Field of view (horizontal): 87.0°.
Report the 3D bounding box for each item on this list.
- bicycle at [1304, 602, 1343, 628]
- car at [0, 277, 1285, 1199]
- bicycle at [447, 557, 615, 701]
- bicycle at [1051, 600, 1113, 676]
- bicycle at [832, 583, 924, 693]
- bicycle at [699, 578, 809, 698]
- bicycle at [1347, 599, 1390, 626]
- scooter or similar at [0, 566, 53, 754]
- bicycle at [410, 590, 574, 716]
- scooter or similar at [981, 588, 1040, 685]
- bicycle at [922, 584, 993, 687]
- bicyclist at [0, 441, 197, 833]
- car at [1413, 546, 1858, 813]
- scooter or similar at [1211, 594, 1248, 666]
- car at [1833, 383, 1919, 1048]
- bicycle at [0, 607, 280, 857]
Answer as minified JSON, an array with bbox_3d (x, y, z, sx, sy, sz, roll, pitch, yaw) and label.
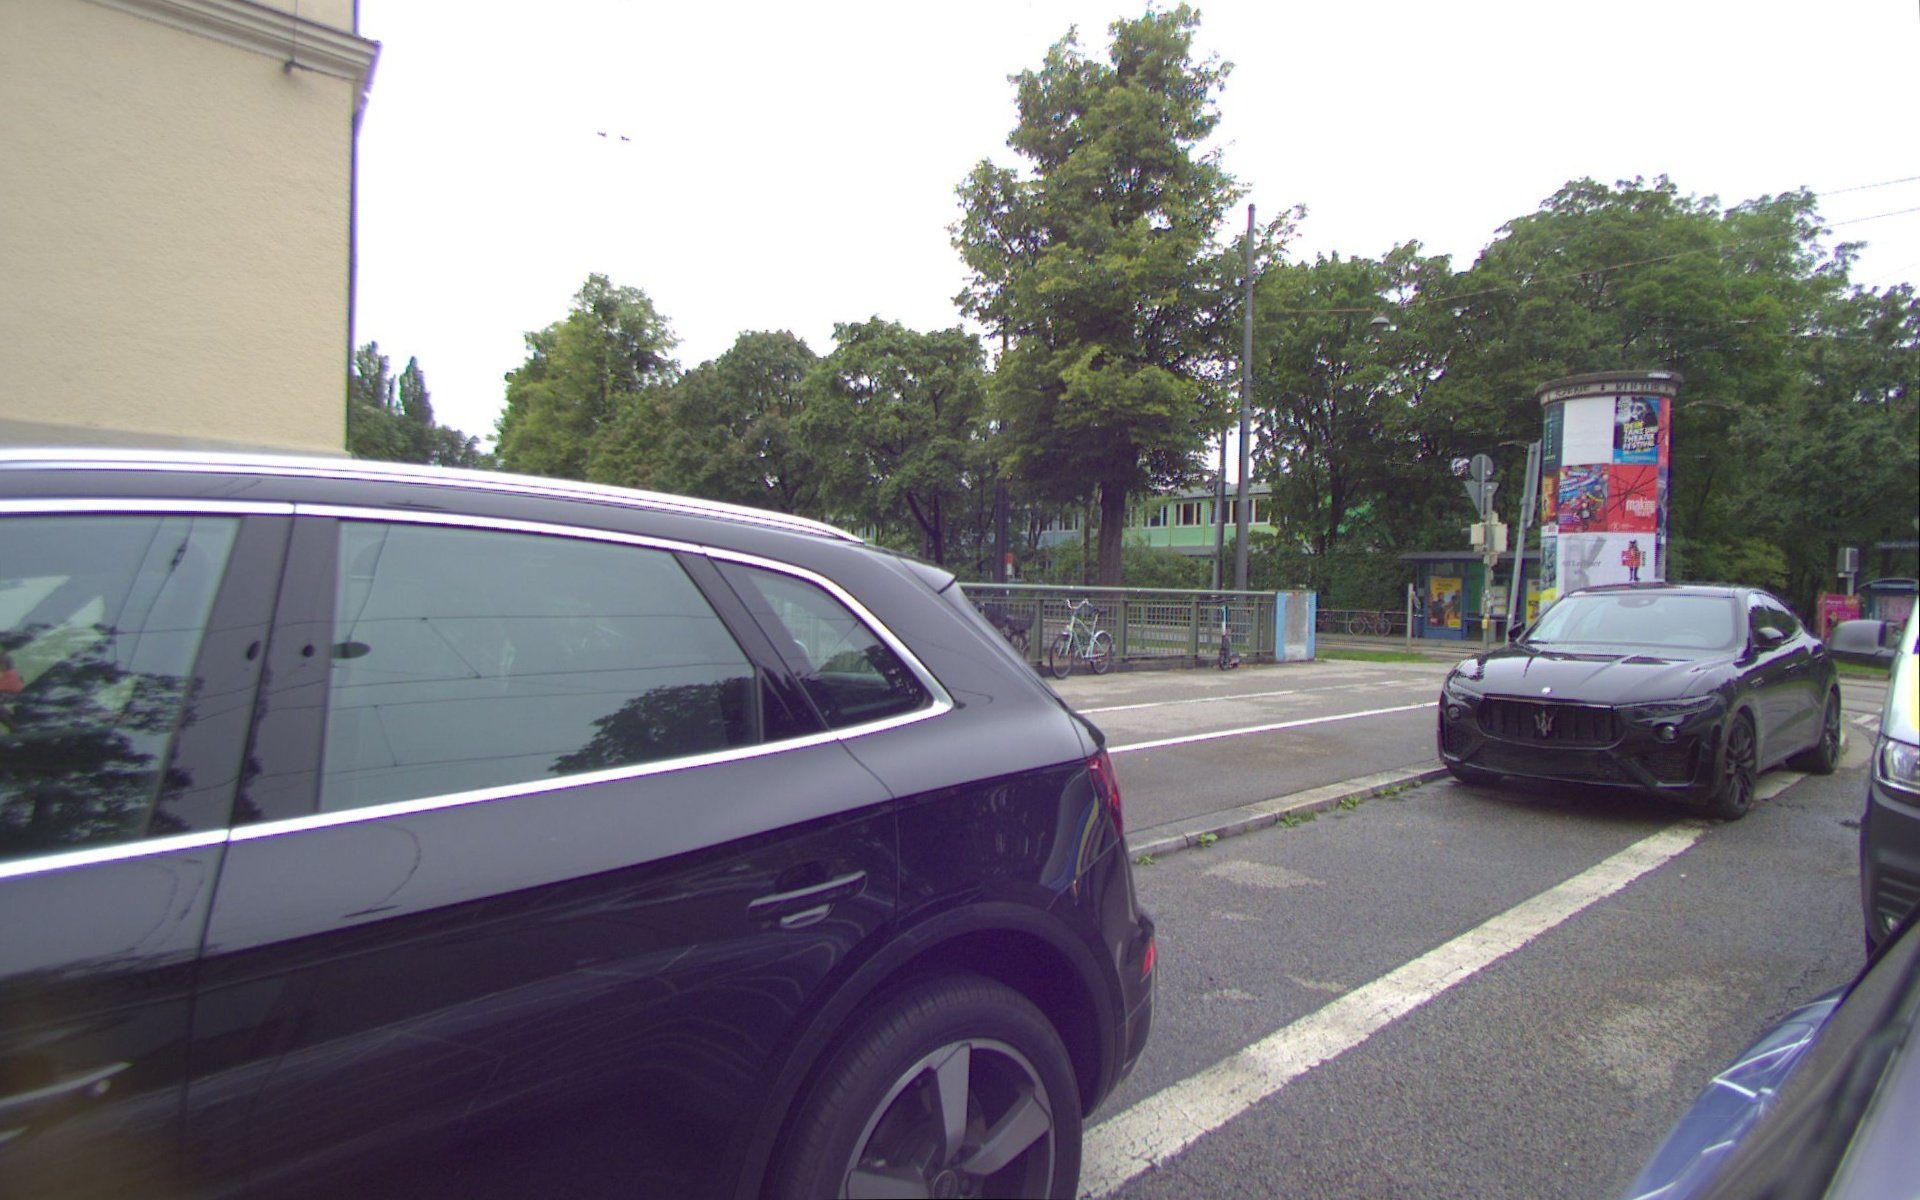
[{"bbox_3d":[14.300,0.587,39.862,0.366,0.964,1.483,0,1,-38],"label":"bicycle"},{"bbox_3d":[-1.446,0.517,1.735,4.408,1.679,1.778,0,0,-40],"label":"car"},{"bbox_3d":[-4.200,0.266,9.986,1.511,1.329,0.332,0,-1,-42],"label":"bicycle"},{"bbox_3d":[1.855,0.541,15.234,0.263,1.096,1.524,-1,-1,34],"label":"bicycle"},{"bbox_3d":[-1.006,0.452,12.675,0.281,1.298,1.391,-1,-1,38],"label":"bicycle"},{"bbox_3d":[-2.321,0.409,11.536,0.281,1.298,1.391,-1,-1,38],"label":"bicycle"},{"bbox_3d":[15.400,0.461,38.173,0.366,0.964,1.483,0,1,-38],"label":"bicycle"},{"bbox_3d":[-7.089,0.422,7.053,1.122,1.329,0.261,0,-1,-41],"label":"scooter or similar"},{"bbox_3d":[-4.438,0.474,9.665,0.286,1.120,1.421,1,0,42],"label":"bicycle"},{"bbox_3d":[0.711,0.480,14.001,0.242,1.279,1.482,-1,0,27],"label":"scooter or similar"},{"bbox_3d":[-0.017,0.446,13.354,0.280,1.298,1.395,-1,-1,29],"label":"bicycle"},{"bbox_3d":[-4.265,0.165,5.017,0.714,1.751,0.725,0,-1,-41],"label":"bicyclist"},{"bbox_3d":[5.784,0.515,8.421,4.582,1.630,1.904,1,-1,-40],"label":"car"},{"bbox_3d":[4.706,0.508,17.648,0.224,1.227,1.006,-1,-1,40],"label":"scooter or similar"},{"bbox_3d":[5.571,0.382,4.502,5.612,2.078,1.901,0,2,-43],"label":"car"},{"bbox_3d":[-4.440,0.602,4.861,1.879,1.091,0.580,0,3,-42],"label":"bicycle"}]
